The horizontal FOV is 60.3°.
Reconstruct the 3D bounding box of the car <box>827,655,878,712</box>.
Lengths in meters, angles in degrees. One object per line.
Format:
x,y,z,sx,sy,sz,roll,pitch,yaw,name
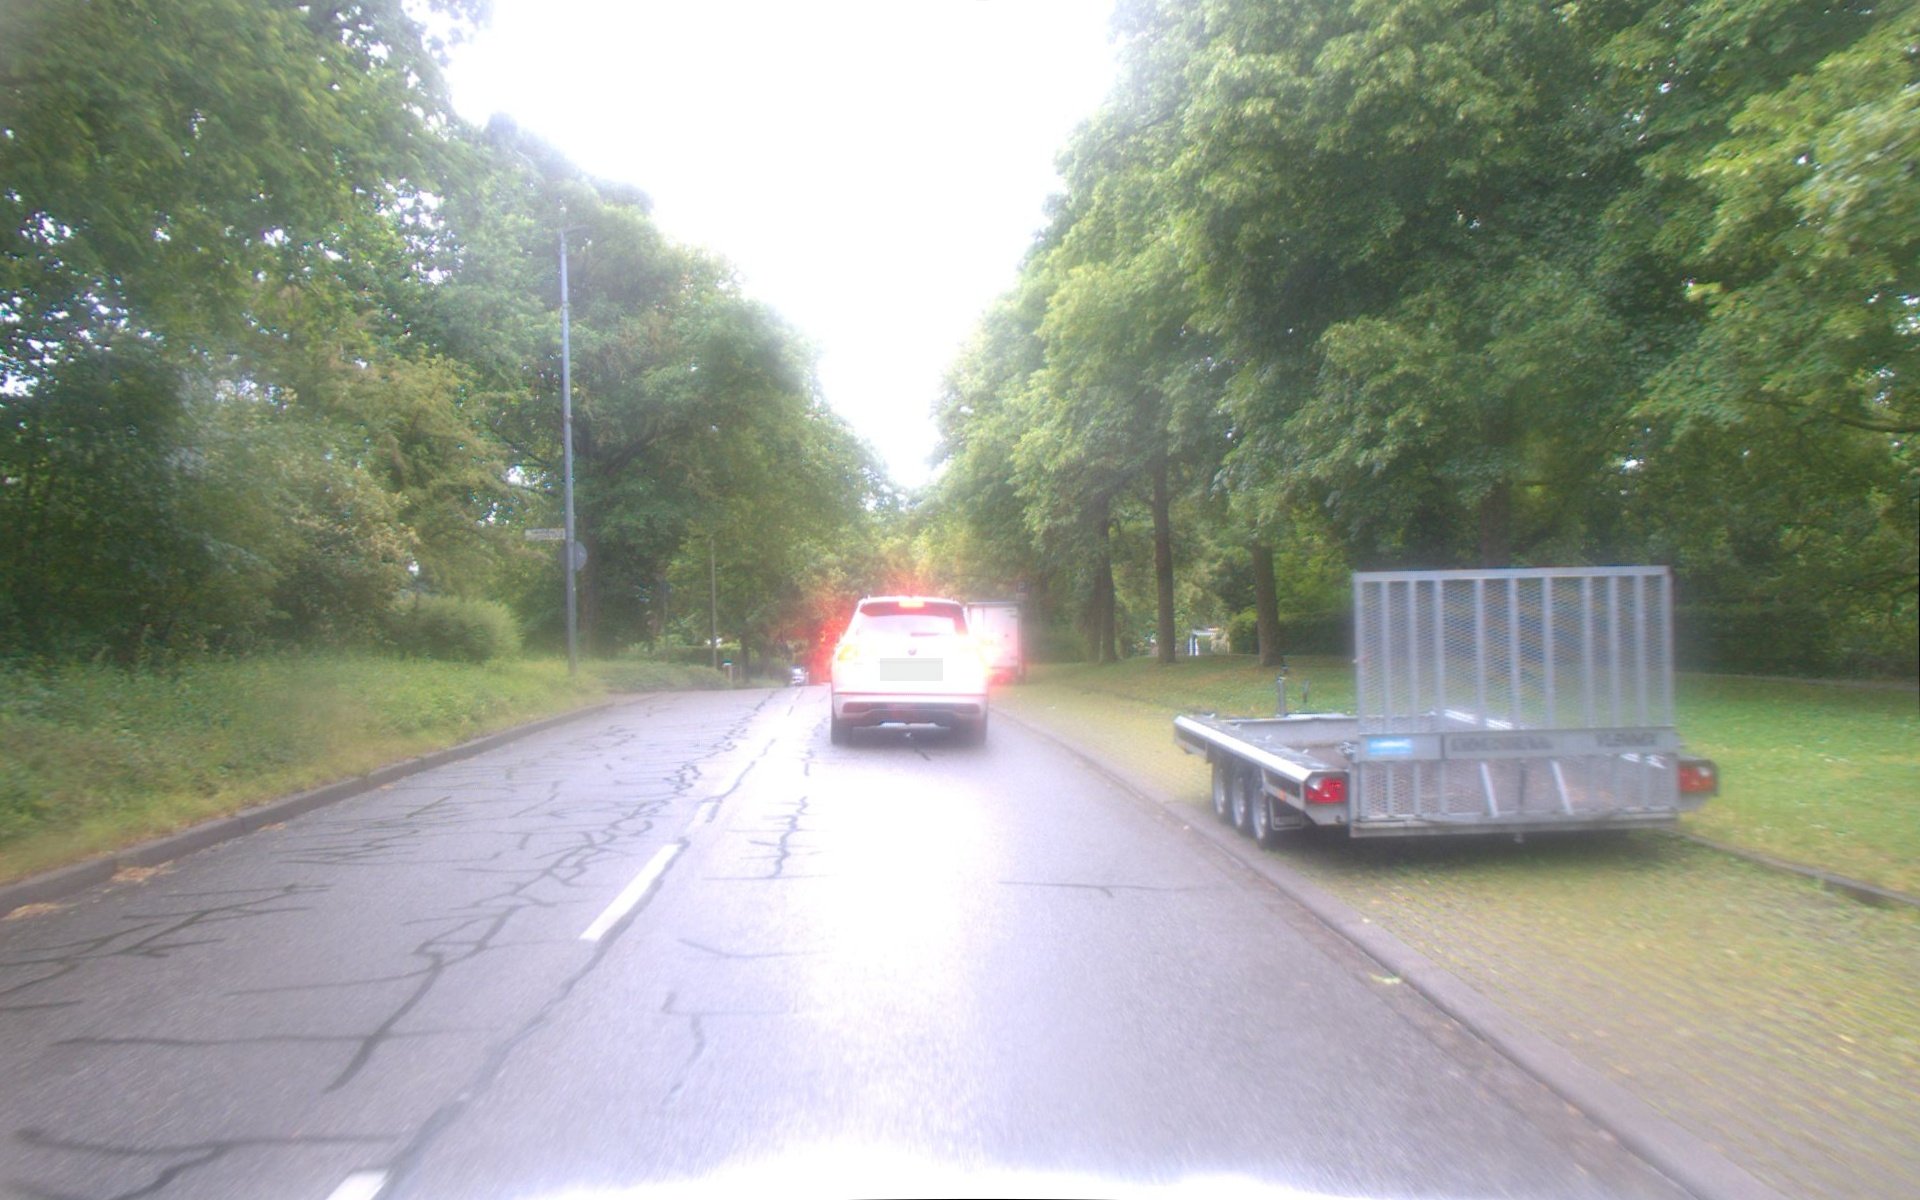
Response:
-4.732,3.613,72.321,1.956,2.048,3.994,-1,3,-8,car

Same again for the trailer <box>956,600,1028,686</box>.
0.795,1.142,43.497,1.500,2.112,3.996,-2,-2,-4,trailer

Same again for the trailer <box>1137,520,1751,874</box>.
2.933,0.563,11.852,2.400,1.844,5.888,-1,-1,-3,trailer

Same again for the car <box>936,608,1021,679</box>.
0.480,1.306,48.292,1.955,1.943,5.502,-1,-2,-5,car

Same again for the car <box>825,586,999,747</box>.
-0.575,0.733,19.986,1.867,1.715,4.199,-1,0,-2,car

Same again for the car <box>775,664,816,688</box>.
-11.495,5.316,115.770,1.951,1.627,4.012,-1,-3,7,car
